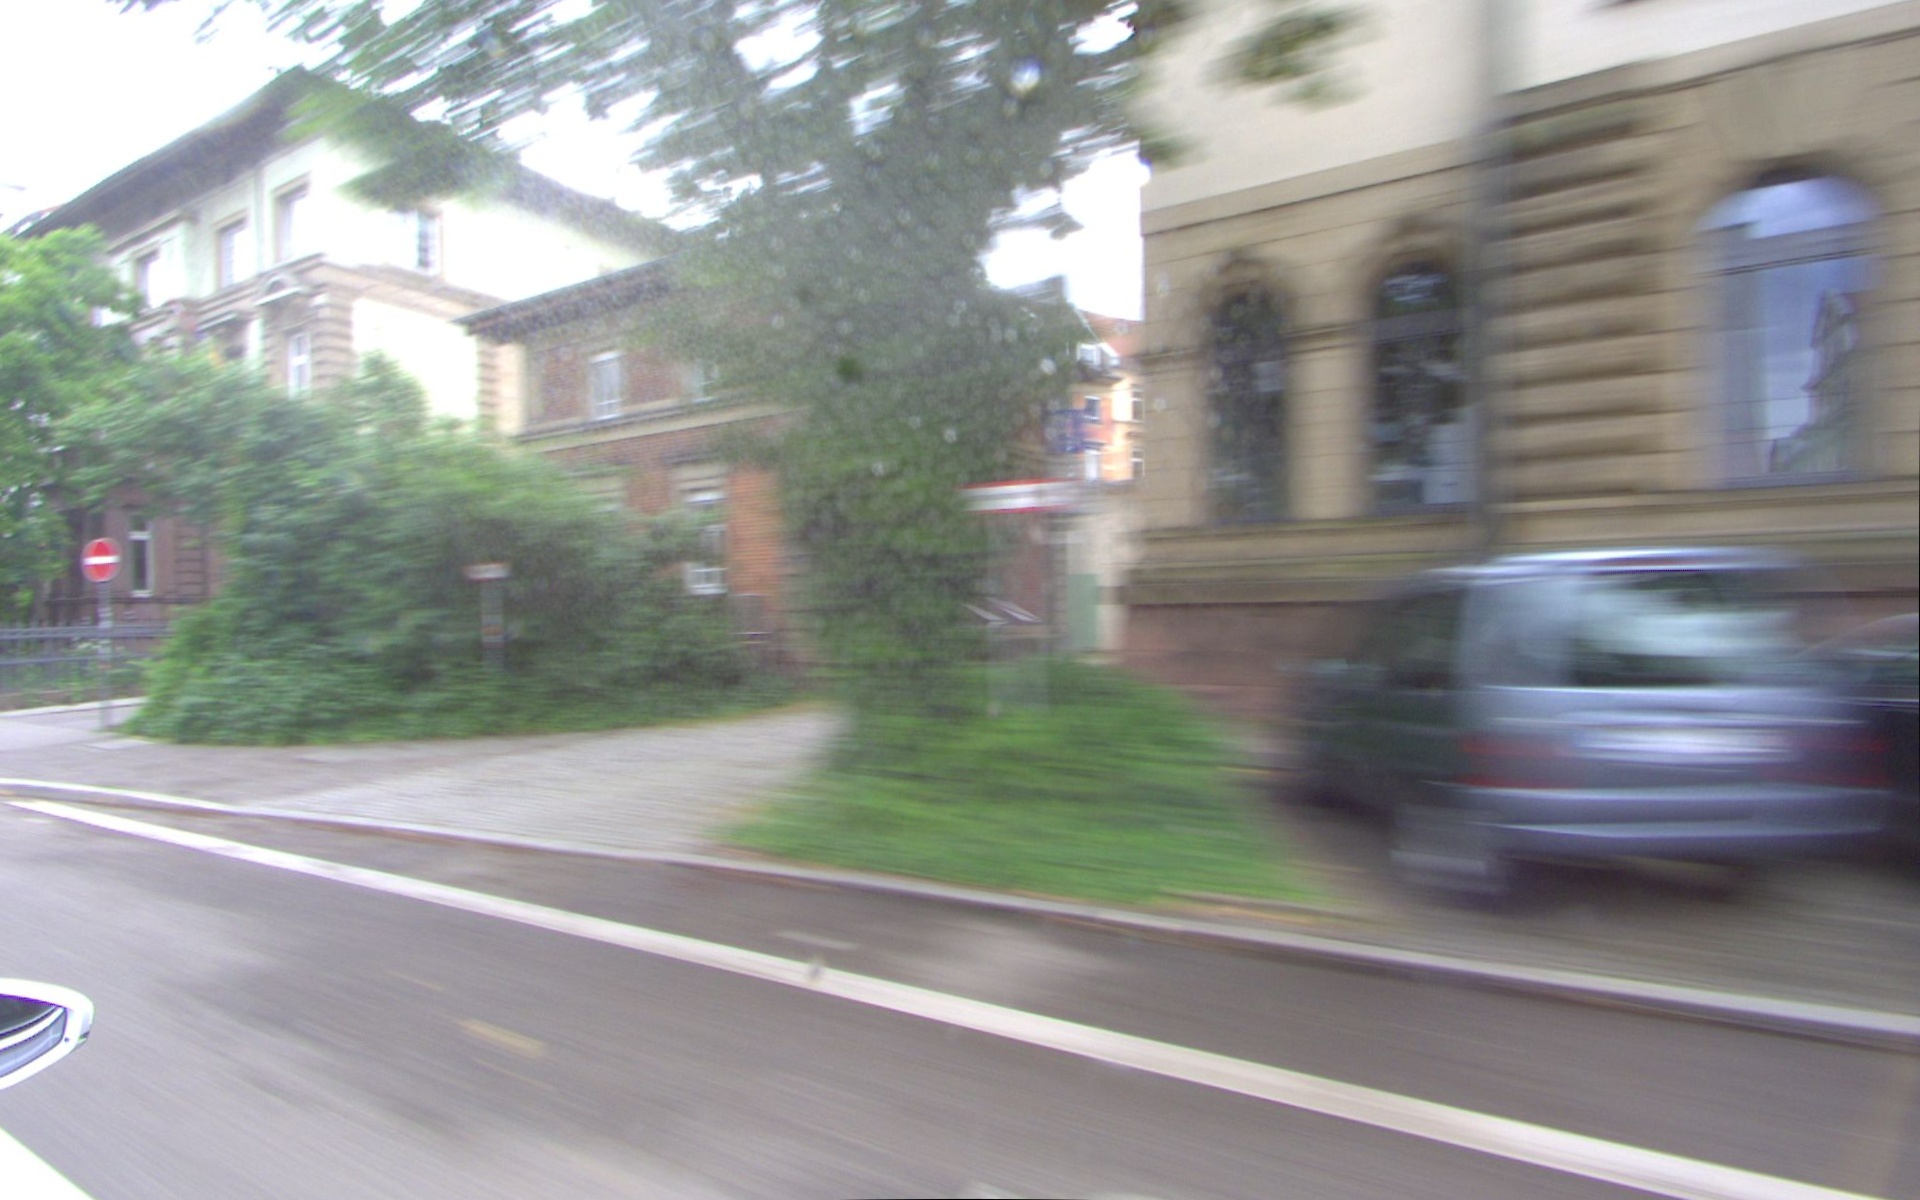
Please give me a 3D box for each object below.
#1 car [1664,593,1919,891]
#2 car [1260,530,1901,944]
[{"bbox_3d":[5.933,0.729,5.043,1.828,1.559,3.999,-1,0,-3],"label":"car"},{"bbox_3d":[3.364,0.631,6.421,1.772,1.845,3.840,-1,0,1],"label":"car"}]
